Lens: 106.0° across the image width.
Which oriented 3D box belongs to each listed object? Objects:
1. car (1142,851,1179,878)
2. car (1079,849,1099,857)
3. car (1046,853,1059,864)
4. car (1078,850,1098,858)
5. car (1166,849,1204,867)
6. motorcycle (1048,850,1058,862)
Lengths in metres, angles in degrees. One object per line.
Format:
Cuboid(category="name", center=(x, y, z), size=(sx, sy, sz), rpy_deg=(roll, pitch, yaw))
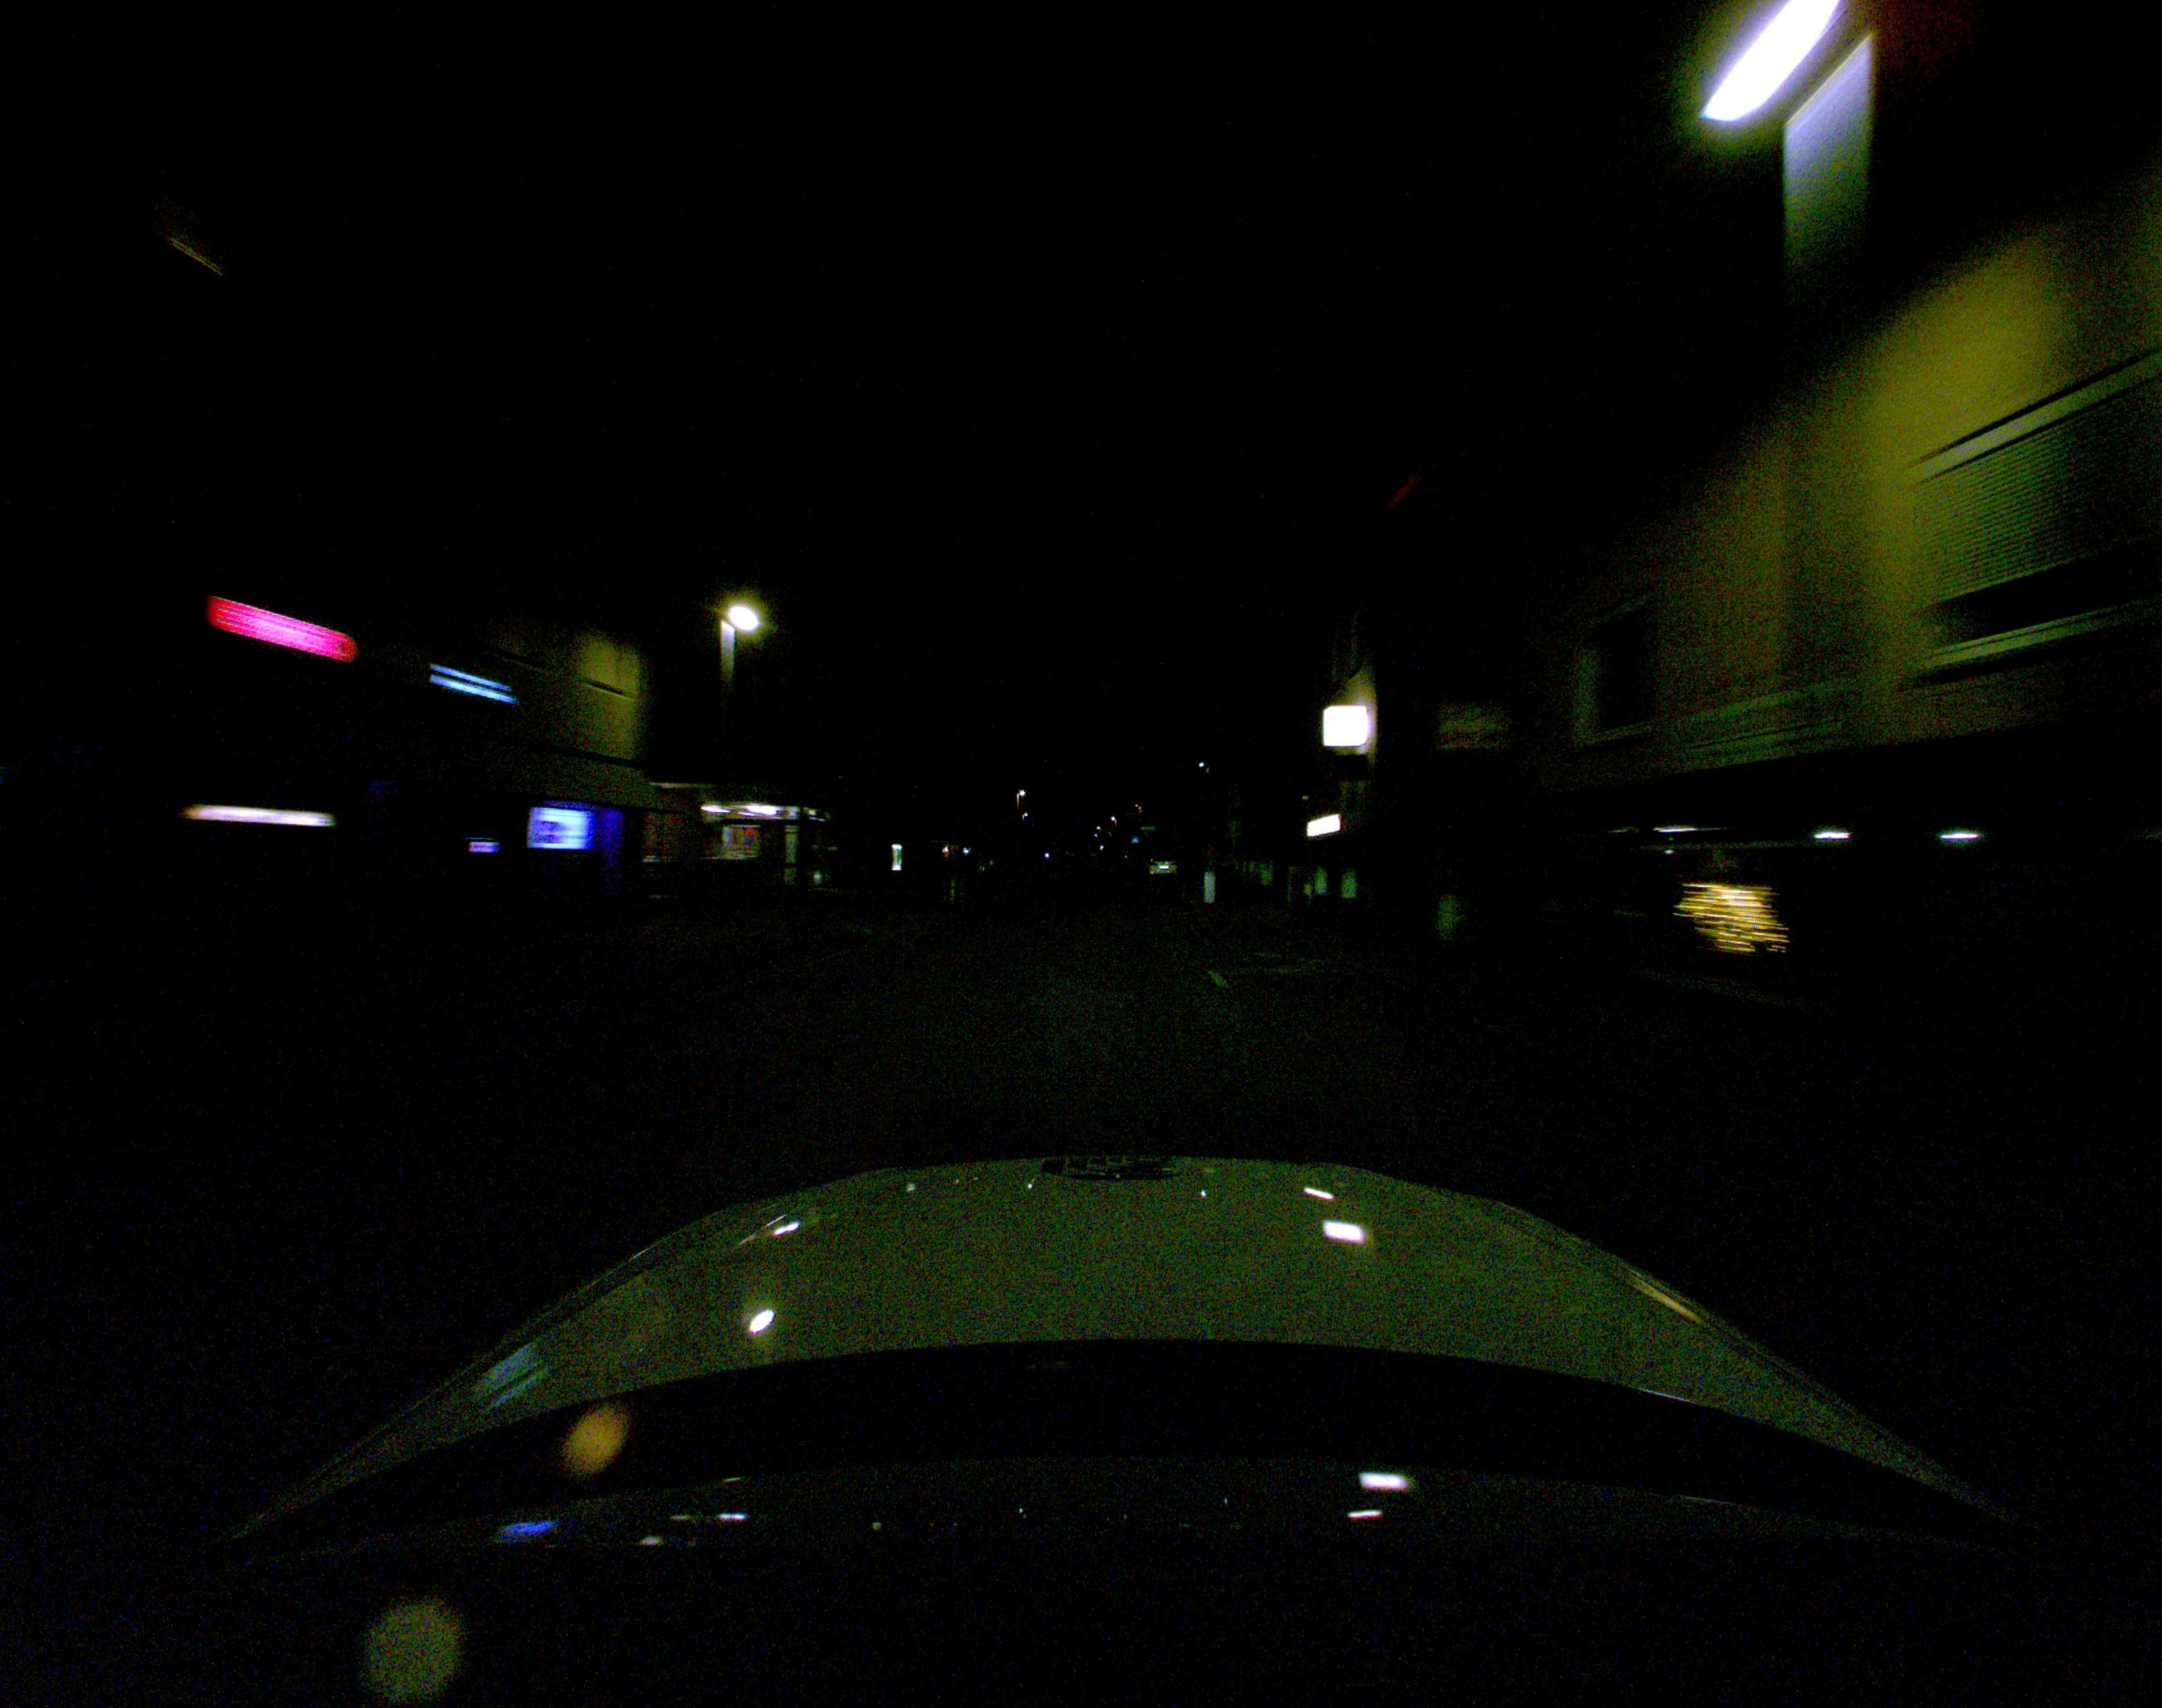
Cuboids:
Cuboid(category="car", center=(4.718, 0.601, 48.853), size=(1.737, 1.569, 4.207), rpy_deg=(-1, 0, 0))
Cuboid(category="car", center=(2.248, -0.154, 221.283), size=(5.172, 2.013, 2.099), rpy_deg=(-2, 0, -4))
Cuboid(category="car", center=(-3.979, 0.552, 112.916), size=(1.683, 1.510, 4.276), rpy_deg=(0, 0, -1))
Cuboid(category="car", center=(1.910, -0.114, 218.198), size=(5.172, 2.013, 2.099), rpy_deg=(-2, 0, -4))
Cuboid(category="car", center=(10.457, 0.381, 82.213), size=(3.497, 1.525, 1.819), rpy_deg=(-4, 0, -3))
Cuboid(category="motorcycle", center=(-3.189, 0.230, 93.317), size=(0.742, 1.452, 2.199), rpy_deg=(0, 0, 7))
